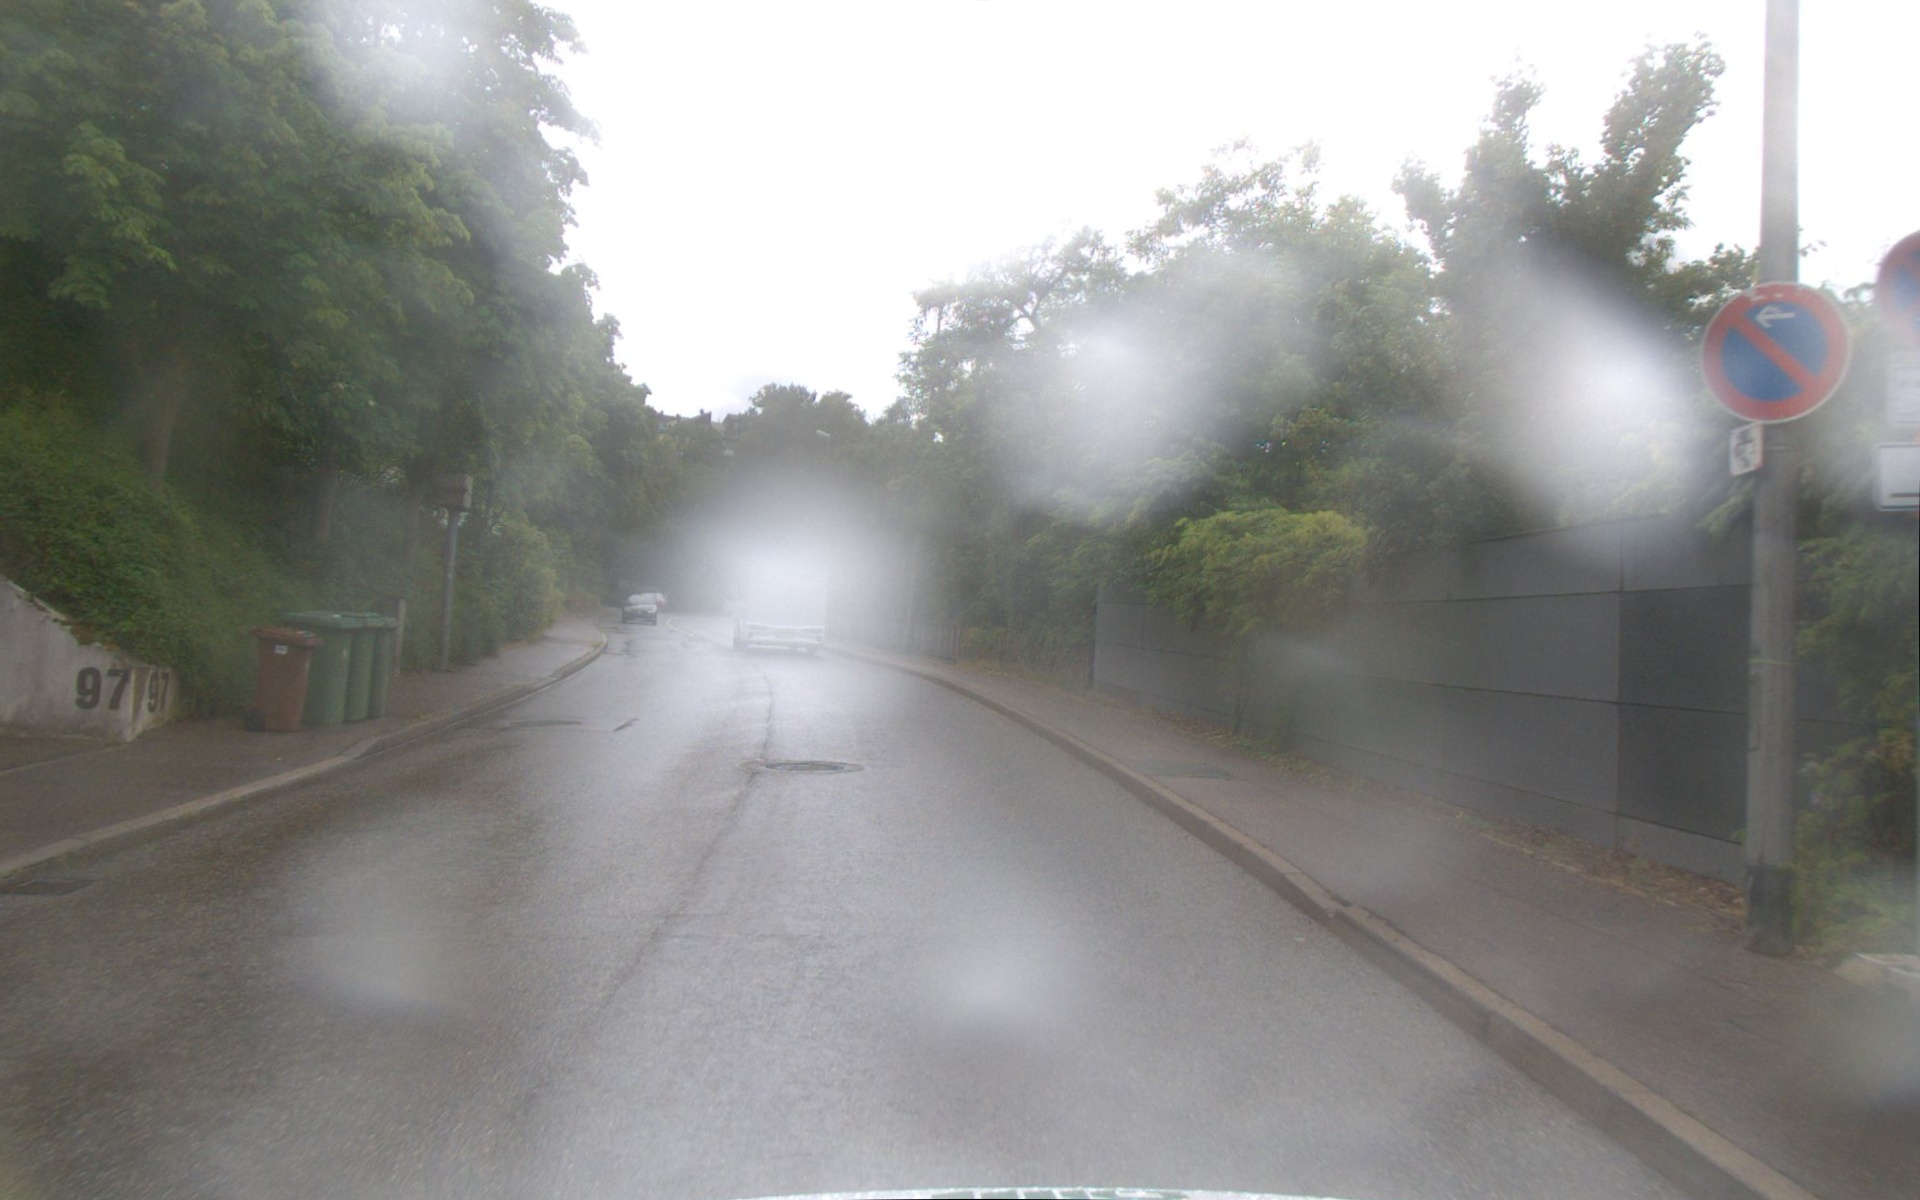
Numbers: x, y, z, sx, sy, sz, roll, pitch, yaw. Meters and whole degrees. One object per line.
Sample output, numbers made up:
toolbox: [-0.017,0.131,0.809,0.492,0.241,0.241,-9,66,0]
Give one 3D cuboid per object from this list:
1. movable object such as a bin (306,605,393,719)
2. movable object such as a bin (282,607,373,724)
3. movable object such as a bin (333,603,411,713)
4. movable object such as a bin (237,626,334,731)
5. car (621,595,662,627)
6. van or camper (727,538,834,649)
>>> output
movable object such as a bin: [-6.236,0.622,16.920,0.635,1.123,0.672,2,0,-4]
movable object such as a bin: [-6.178,0.631,16.177,0.635,1.099,0.672,2,0,-4]
movable object such as a bin: [-6.222,0.606,17.520,0.635,1.135,0.504,2,0,-4]
movable object such as a bin: [-6.262,0.718,15.383,0.635,0.927,0.672,2,0,-4]
car: [-15.092,0.516,78.598,1.619,1.409,3.524,2,0,-7]
van or camper: [-5.247,-0.119,47.640,2.495,2.976,5.930,1,-1,-12]
